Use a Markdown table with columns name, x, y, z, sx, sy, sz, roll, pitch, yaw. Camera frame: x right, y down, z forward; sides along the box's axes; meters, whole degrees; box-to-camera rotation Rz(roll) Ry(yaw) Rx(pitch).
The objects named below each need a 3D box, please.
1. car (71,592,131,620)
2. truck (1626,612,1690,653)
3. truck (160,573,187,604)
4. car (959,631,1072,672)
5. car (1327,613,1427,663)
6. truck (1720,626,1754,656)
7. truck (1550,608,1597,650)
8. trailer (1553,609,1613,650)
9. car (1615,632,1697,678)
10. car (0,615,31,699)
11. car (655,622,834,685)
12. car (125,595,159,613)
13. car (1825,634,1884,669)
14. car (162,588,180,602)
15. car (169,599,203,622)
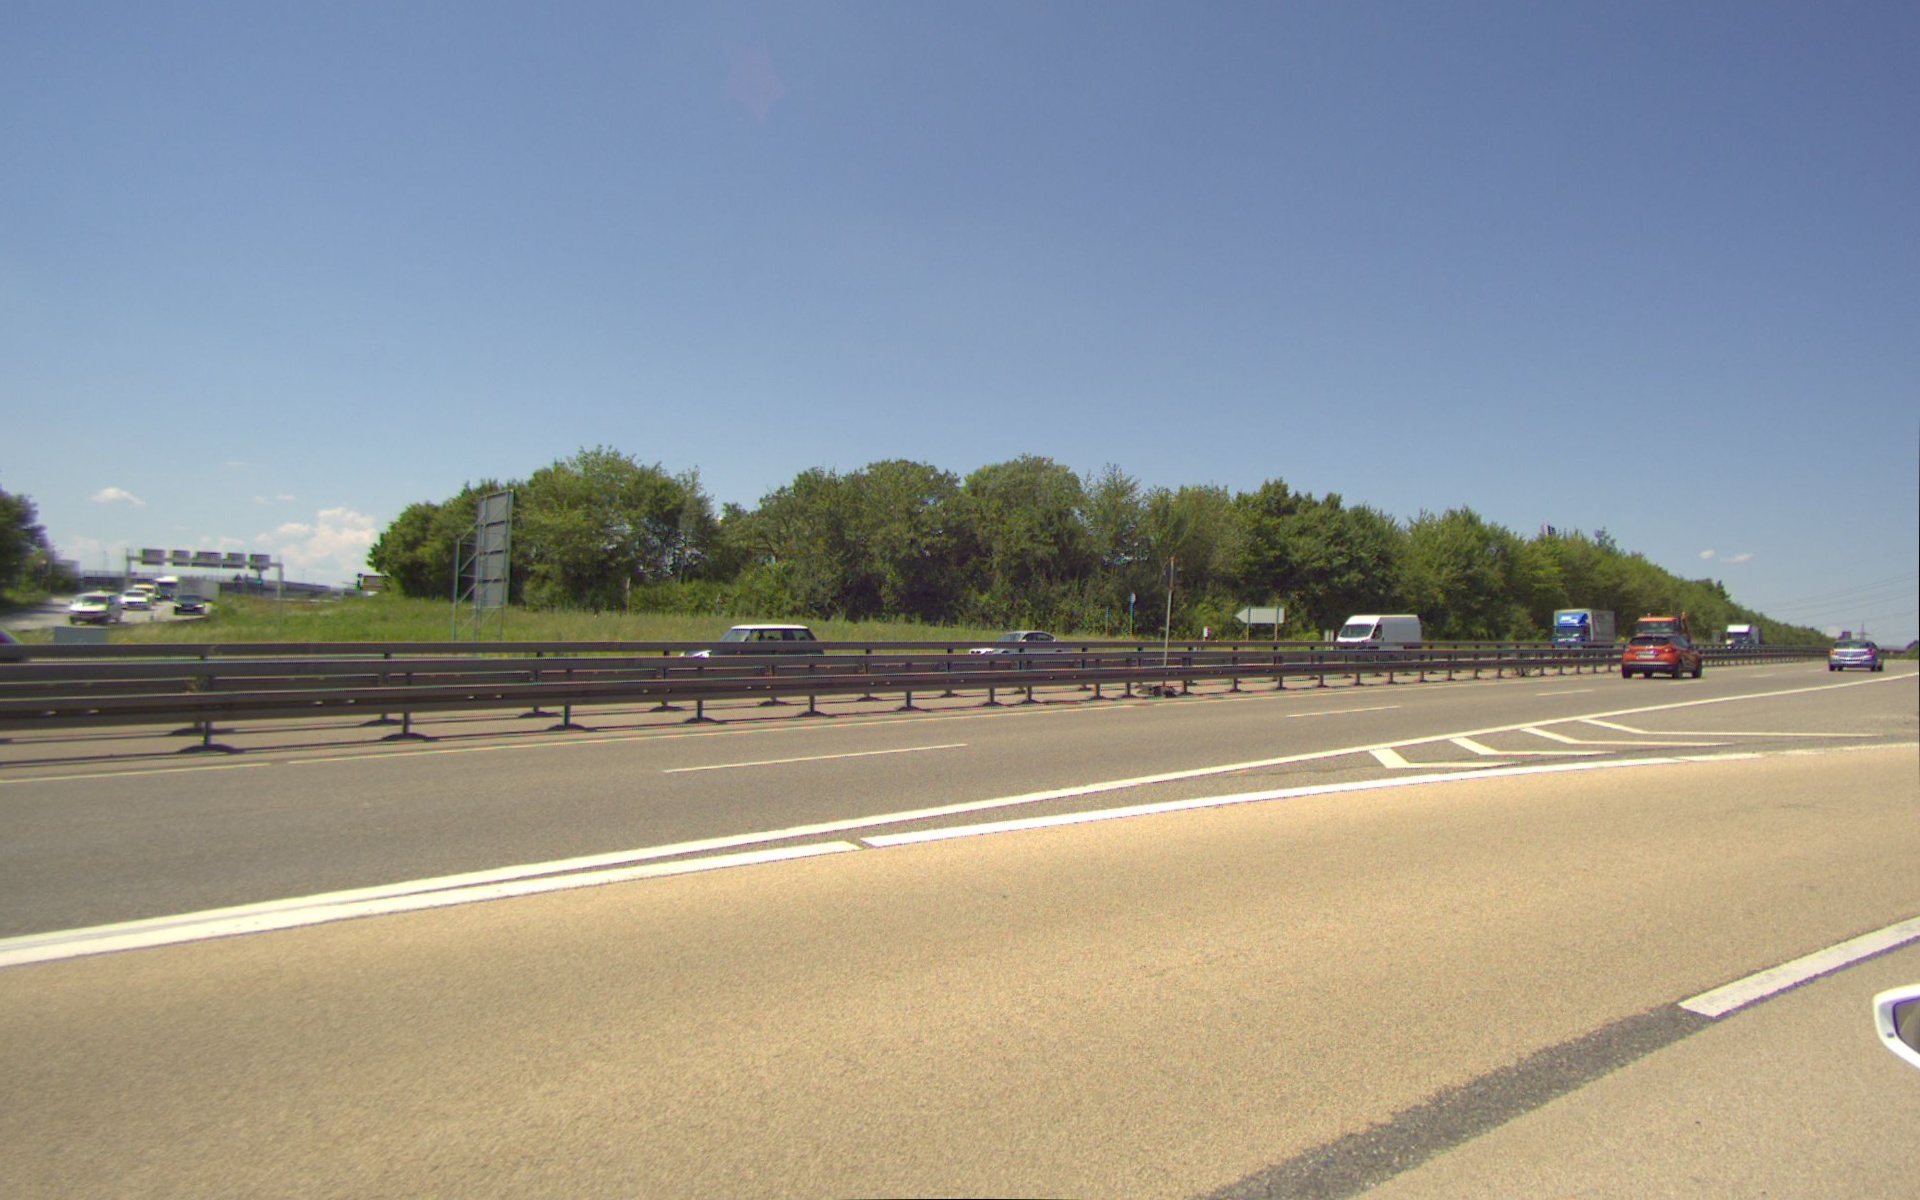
| name | x | y | z | sx | sy | sz | roll | pitch | yaw |
| --- | --- | --- | --- | --- | --- | --- | --- | --- | --- |
| car | -54.771 | 0.434 | 64.138 | 1.995 | 1.662 | 5.072 | 1 | -2 | -30 |
| truck | 55.205 | 2.595 | 79.351 | 8.148 | 3.102 | 2.570 | 3 | -3 | -43 |
| truck | -110.756 | -1.534 | 141.428 | 2.808 | 4.214 | 3.955 | 1 | -1 | -39 |
| car | 2.221 | 1.985 | 39.498 | 4.499 | 1.504 | 1.684 | 2 | -1 | -40 |
| car | 22.737 | 2.040 | 54.656 | 6.640 | 2.571 | 2.140 | 2 | -1 | -39 |
| truck | 105.654 | 5.621 | 136.595 | 5.384 | 3.991 | 2.883 | 3 | -3 | -45 |
| truck | 46.653 | 2.208 | 76.363 | 3.055 | 3.049 | 2.287 | 1 | -2 | -43 |
| trailer | 48.818 | 2.287 | 78.604 | 7.172 | 3.049 | 2.276 | 2 | -2 | -44 |
| car | 25.140 | 1.961 | 36.242 | 3.355 | 1.574 | 1.728 | 2 | -3 | -43 |
| car | -18.659 | 0.986 | 17.406 | 3.636 | 1.469 | 1.471 | 2 | -1 | -39 |
| car | -5.052 | 1.221 | 23.812 | 3.889 | 1.365 | 1.502 | 2 | -1 | -39 |
| car | -67.119 | 0.342 | 82.468 | 1.674 | 1.354 | 3.437 | 1 | -1 | -32 |
| car | 42.028 | 2.398 | 47.176 | 3.355 | 1.598 | 1.728 | 2 | -3 | -43 |
| car | -95.528 | -0.575 | 121.580 | 1.587 | 1.451 | 3.530 | 2 | -3 | -39 |
| car | -60.685 | 0.839 | 78.787 | 1.981 | 1.731 | 4.173 | 1 | -1 | -36 |
